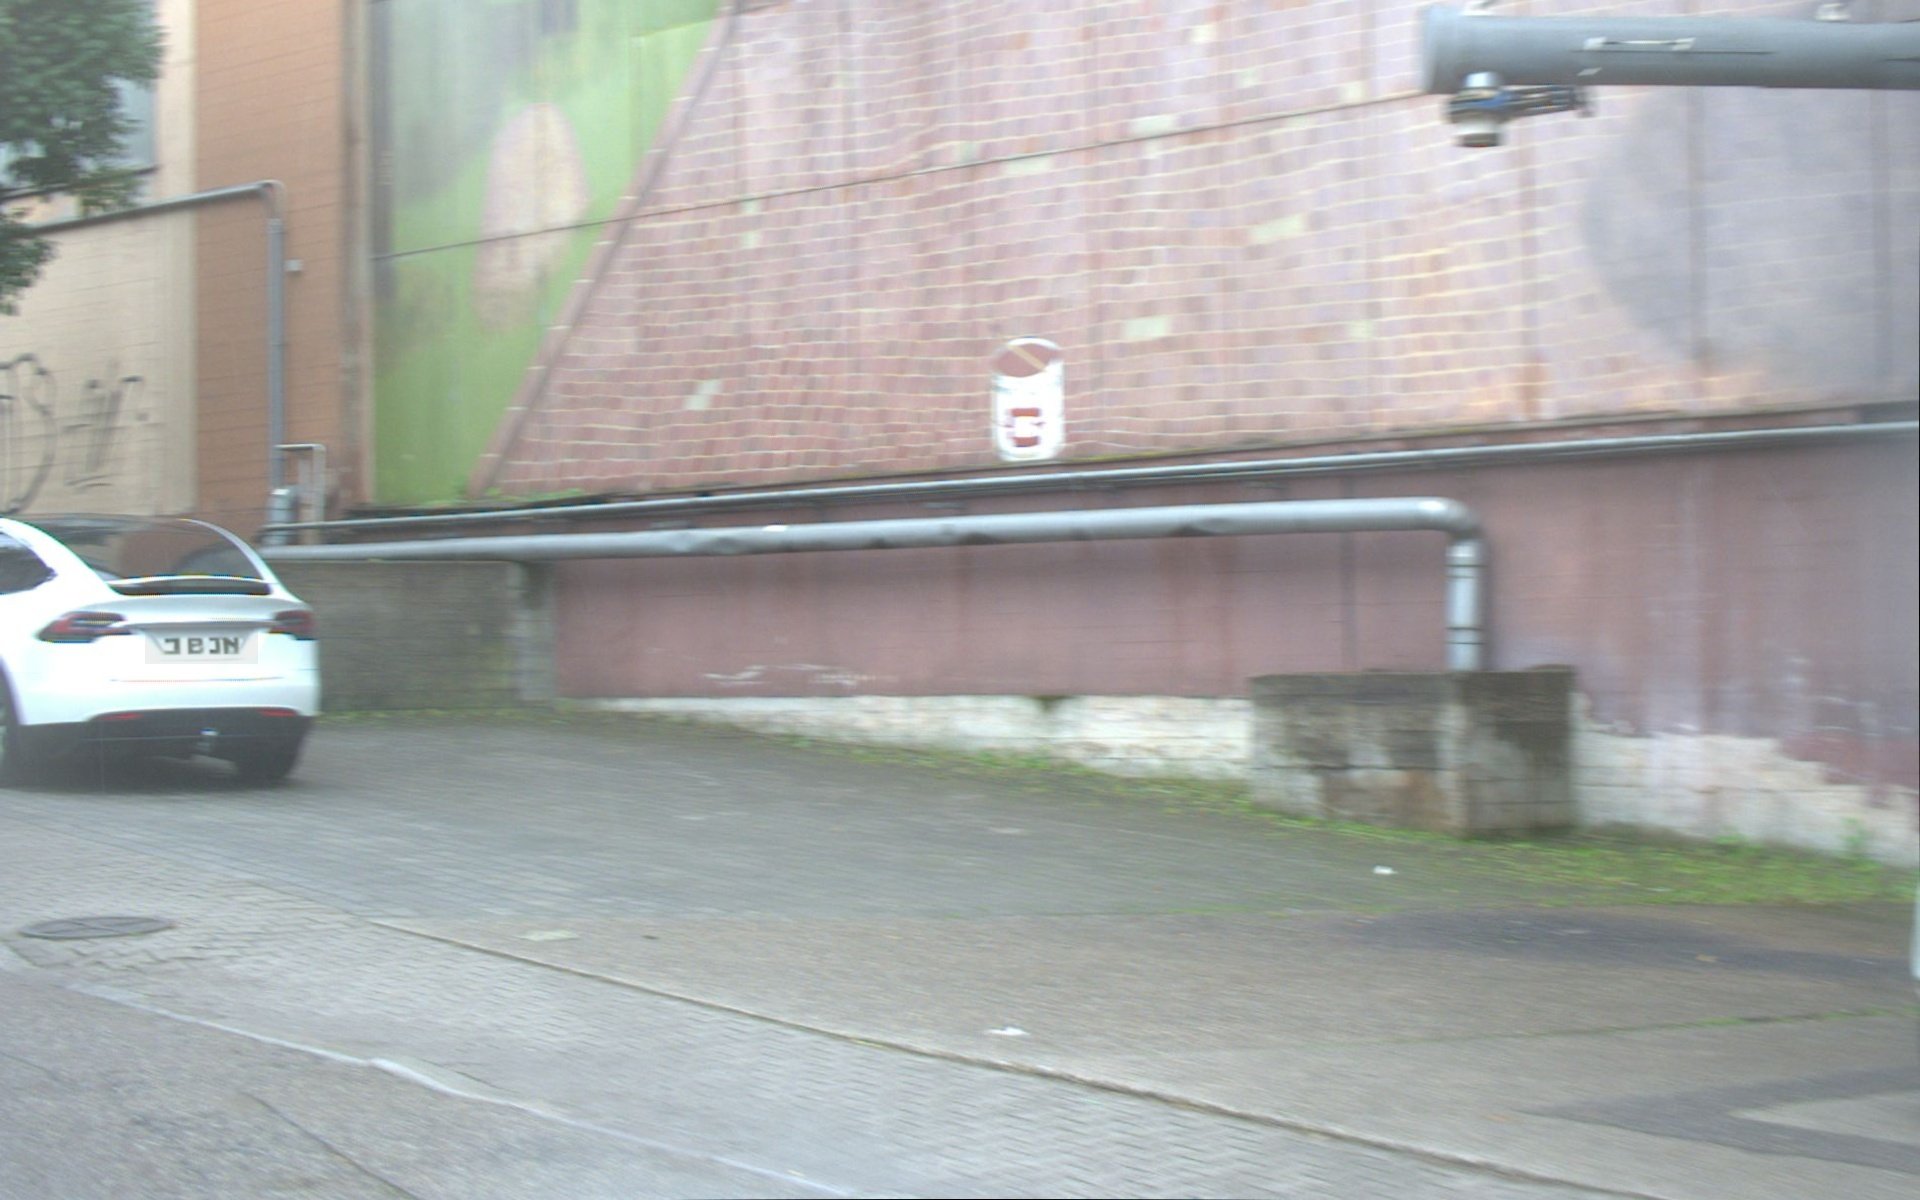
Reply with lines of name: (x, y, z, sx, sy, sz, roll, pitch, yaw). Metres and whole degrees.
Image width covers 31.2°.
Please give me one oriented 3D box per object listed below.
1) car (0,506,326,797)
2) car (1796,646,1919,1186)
car: (-6.116, 0.236, 22.783, 1.853, 1.612, 4.915, 0, 3, -35)
car: (4.529, 0.849, 11.067, 1.874, 1.527, 3.983, 0, 2, 42)
